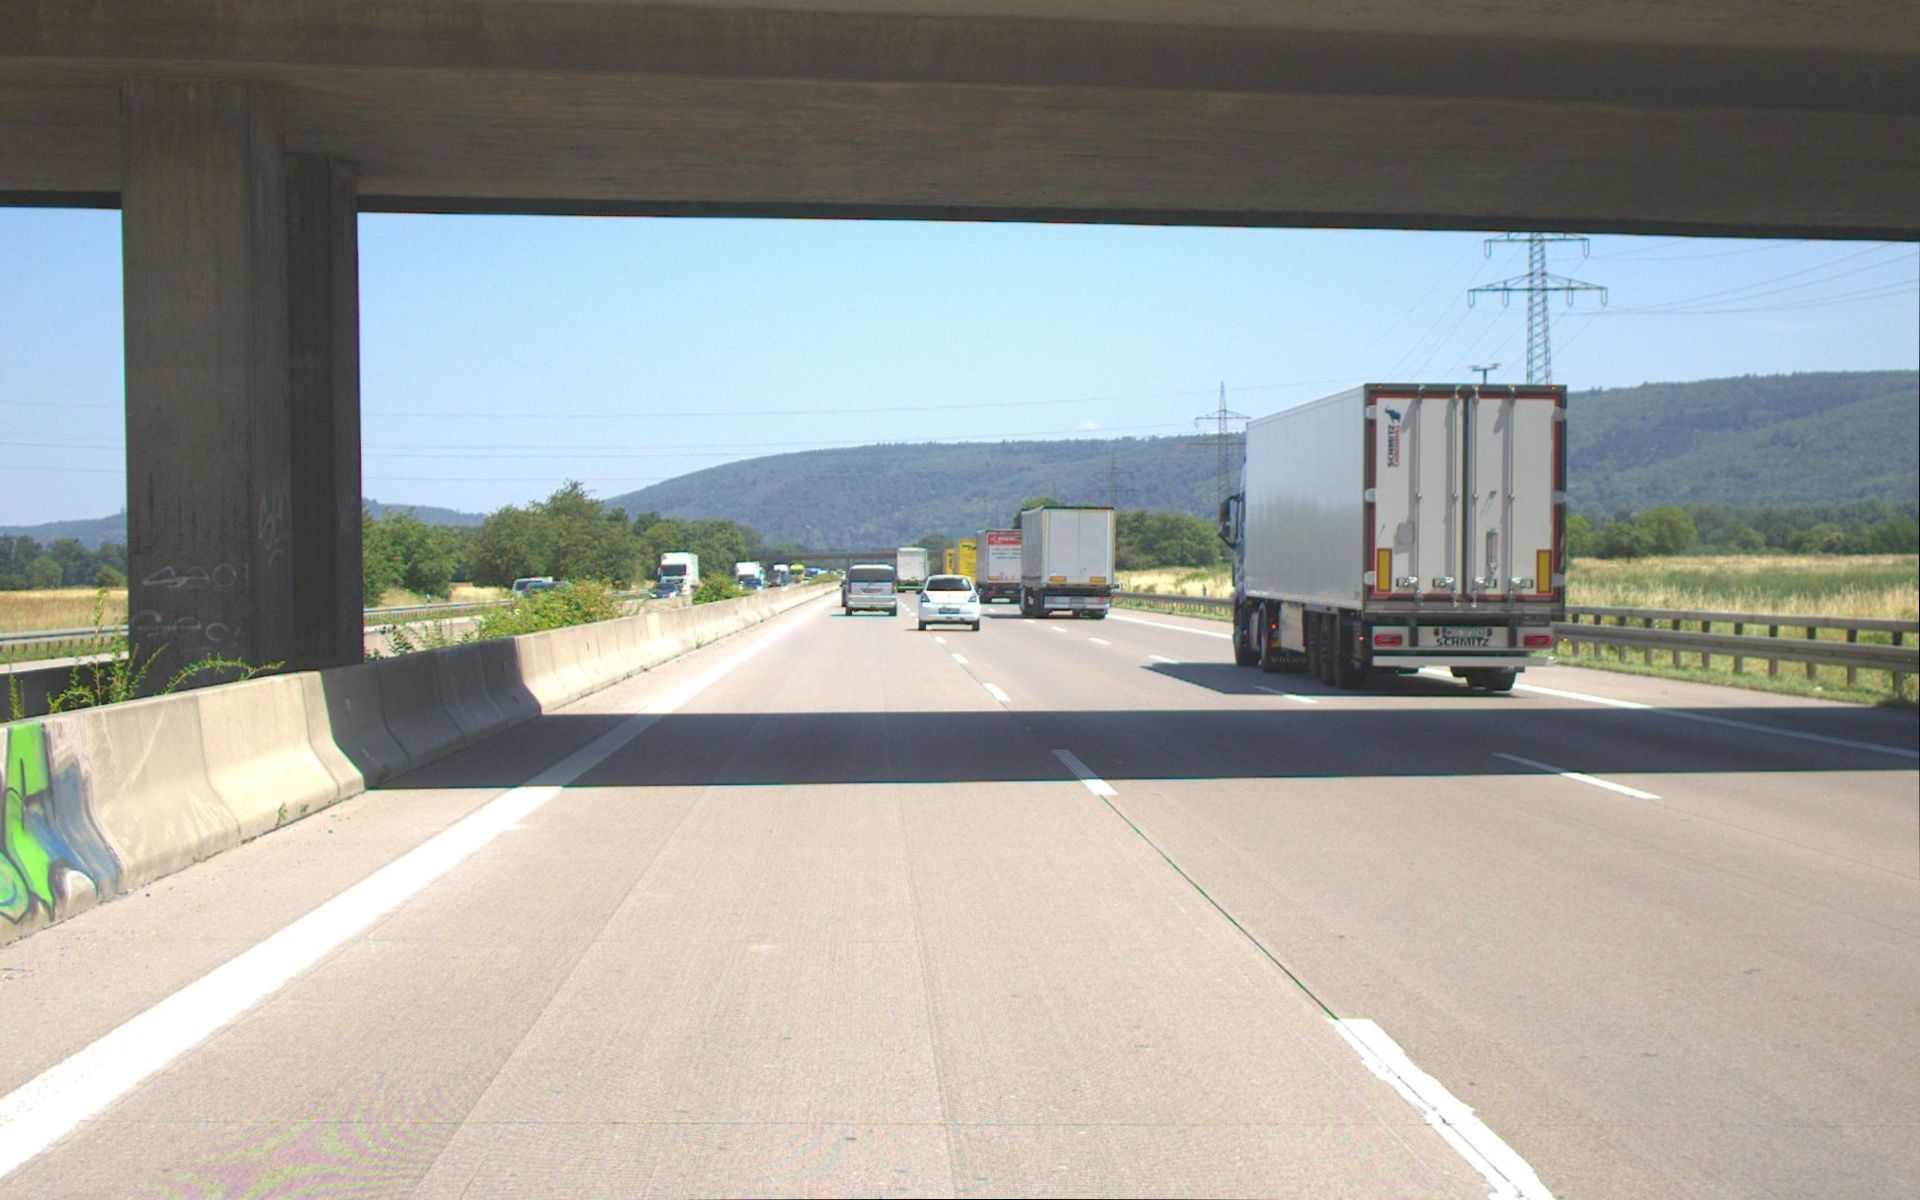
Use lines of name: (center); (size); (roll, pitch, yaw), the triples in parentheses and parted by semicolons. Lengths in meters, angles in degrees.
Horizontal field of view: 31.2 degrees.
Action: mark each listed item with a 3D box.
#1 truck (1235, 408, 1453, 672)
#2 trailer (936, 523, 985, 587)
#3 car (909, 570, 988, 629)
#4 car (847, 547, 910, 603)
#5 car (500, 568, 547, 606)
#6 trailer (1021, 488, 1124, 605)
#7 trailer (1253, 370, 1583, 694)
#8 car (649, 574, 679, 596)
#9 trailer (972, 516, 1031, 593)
truck: (6.190, -0.951, 56.170); (2.750, 4.030, 5.466); (1, 0, -1)
trailer: (-0.011, -3.303, 254.388); (3.216, 4.548, 13.457); (1, 0, -1)
car: (-0.309, -0.033, 94.695); (2.107, 1.531, 4.122); (1, 0, 0)
car: (-3.039, -0.925, 128.329); (2.254, 2.007, 4.298); (1, 0, -1)
car: (-22.880, -0.696, 180.430); (1.865, 1.938, 5.566); (1, 0, -1)
trailer: (4.075, -1.914, 127.511); (3.018, 4.047, 14.207); (1, 0, -1)
trailer: (6.331, -0.905, 49.836); (2.708, 4.030, 12.903); (1, 0, -1)
car: (-19.425, -0.987, 225.754); (1.712, 1.355, 5.044); (1, 0, -2)
trailer: (2.273, -2.485, 192.234); (2.873, 4.087, 13.513); (1, 0, -1)
